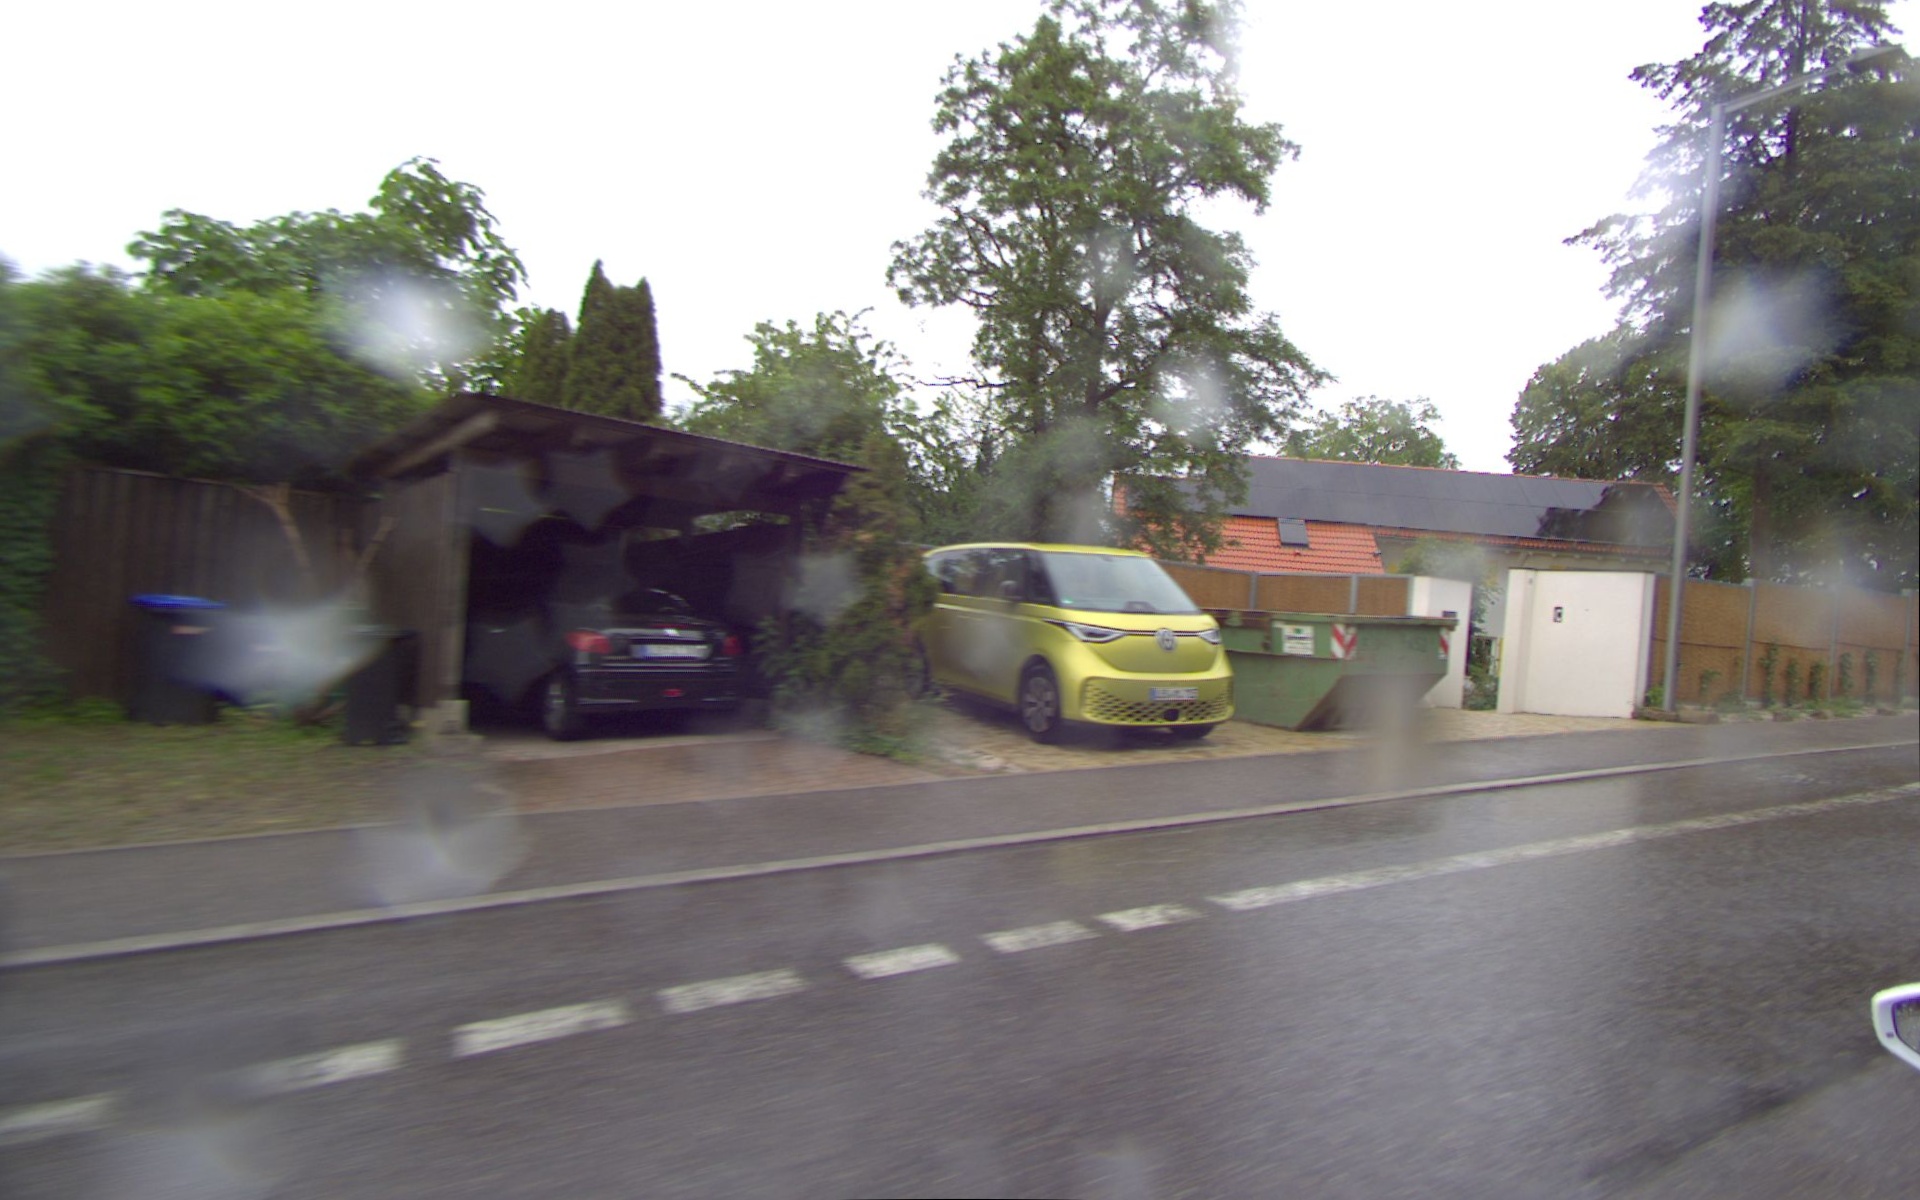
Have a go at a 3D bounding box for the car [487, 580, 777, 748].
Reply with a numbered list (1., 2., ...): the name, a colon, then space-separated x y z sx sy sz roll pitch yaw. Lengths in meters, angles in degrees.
1. car: -3.438 0.509 10.021 1.772 1.320 3.971 1 0 -33

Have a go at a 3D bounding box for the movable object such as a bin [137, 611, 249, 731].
1. movable object such as a bin: -6.266 0.557 8.206 0.682 0.916 0.612 1 0 -42

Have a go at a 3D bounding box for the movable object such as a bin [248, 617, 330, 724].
1. movable object such as a bin: -5.765 0.583 8.628 0.507 0.868 0.612 1 0 -42

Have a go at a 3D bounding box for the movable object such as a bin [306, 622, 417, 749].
1. movable object such as a bin: -4.688 0.639 7.862 0.615 0.916 0.678 1 0 -42

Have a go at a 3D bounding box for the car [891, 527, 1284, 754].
1. car: 1.070 0.313 10.825 2.062 1.884 4.487 1 1 -26

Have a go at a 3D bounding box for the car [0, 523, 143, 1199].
1. car: -4.250 0.537 1.400 4.565 1.532 1.824 2 1 -31
